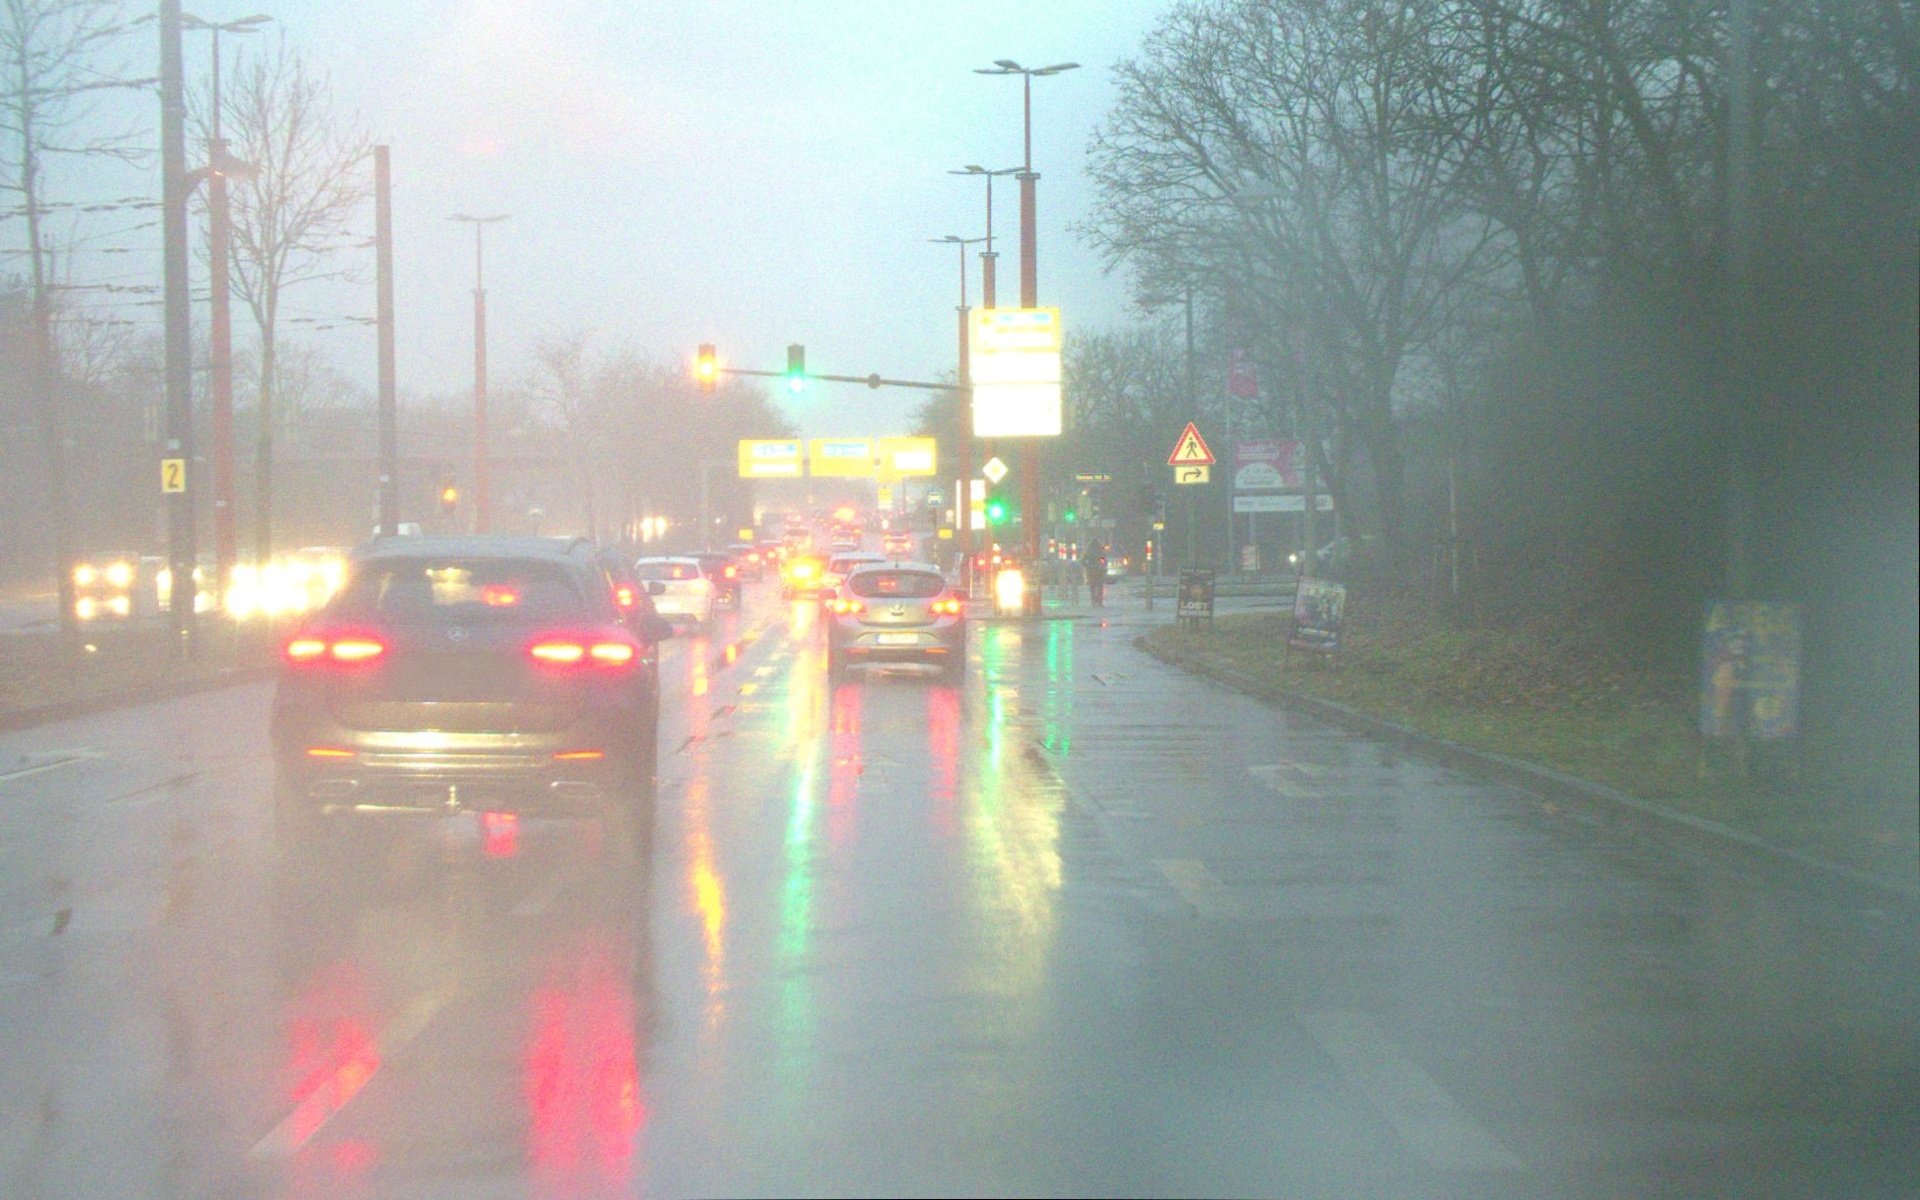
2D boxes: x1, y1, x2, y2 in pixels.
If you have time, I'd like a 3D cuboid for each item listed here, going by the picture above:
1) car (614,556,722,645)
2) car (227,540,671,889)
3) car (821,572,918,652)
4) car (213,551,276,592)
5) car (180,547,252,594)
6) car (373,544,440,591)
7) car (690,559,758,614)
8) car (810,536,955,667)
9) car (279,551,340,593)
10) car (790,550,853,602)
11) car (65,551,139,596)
[{"bbox_3d":[-5.578,-0.013,66.094,1.822,1.642,4.000,0,1,-1],"label":"car"},{"bbox_3d":[-2.608,0.509,18.543,1.822,1.642,4.467,0,1,-1],"label":"car"},{"bbox_3d":[-1.958,0.245,73.987,1.993,1.656,4.000,1,0,-2],"label":"car"},{"bbox_3d":[-26.019,-1.067,125.154,1.621,1.422,3.910,-1,1,-3],"label":"car"},{"bbox_3d":[-25.545,-1.024,118.131,1.769,1.548,3.948,-1,1,-3],"label":"car"},{"bbox_3d":[-19.263,-1.145,119.778,1.856,1.576,4.080,-1,1,-3],"label":"car"},{"bbox_3d":[-5.895,-0.357,86.060,1.505,1.334,4.000,0,1,-1],"label":"car"},{"bbox_3d":[-1.033,-0.007,45.762,1.822,1.642,4.467,0,1,-1],"label":"car"},{"bbox_3d":[-22.659,-0.986,119.838,1.652,1.415,3.327,-1,1,-3],"label":"car"},{"bbox_3d":[-4.130,-0.733,102.876,1.822,1.499,4.000,0,1,-1],"label":"car"},{"bbox_3d":[-29.622,-0.922,118.766,1.618,1.490,4.017,-1,1,-2],"label":"car"}]
